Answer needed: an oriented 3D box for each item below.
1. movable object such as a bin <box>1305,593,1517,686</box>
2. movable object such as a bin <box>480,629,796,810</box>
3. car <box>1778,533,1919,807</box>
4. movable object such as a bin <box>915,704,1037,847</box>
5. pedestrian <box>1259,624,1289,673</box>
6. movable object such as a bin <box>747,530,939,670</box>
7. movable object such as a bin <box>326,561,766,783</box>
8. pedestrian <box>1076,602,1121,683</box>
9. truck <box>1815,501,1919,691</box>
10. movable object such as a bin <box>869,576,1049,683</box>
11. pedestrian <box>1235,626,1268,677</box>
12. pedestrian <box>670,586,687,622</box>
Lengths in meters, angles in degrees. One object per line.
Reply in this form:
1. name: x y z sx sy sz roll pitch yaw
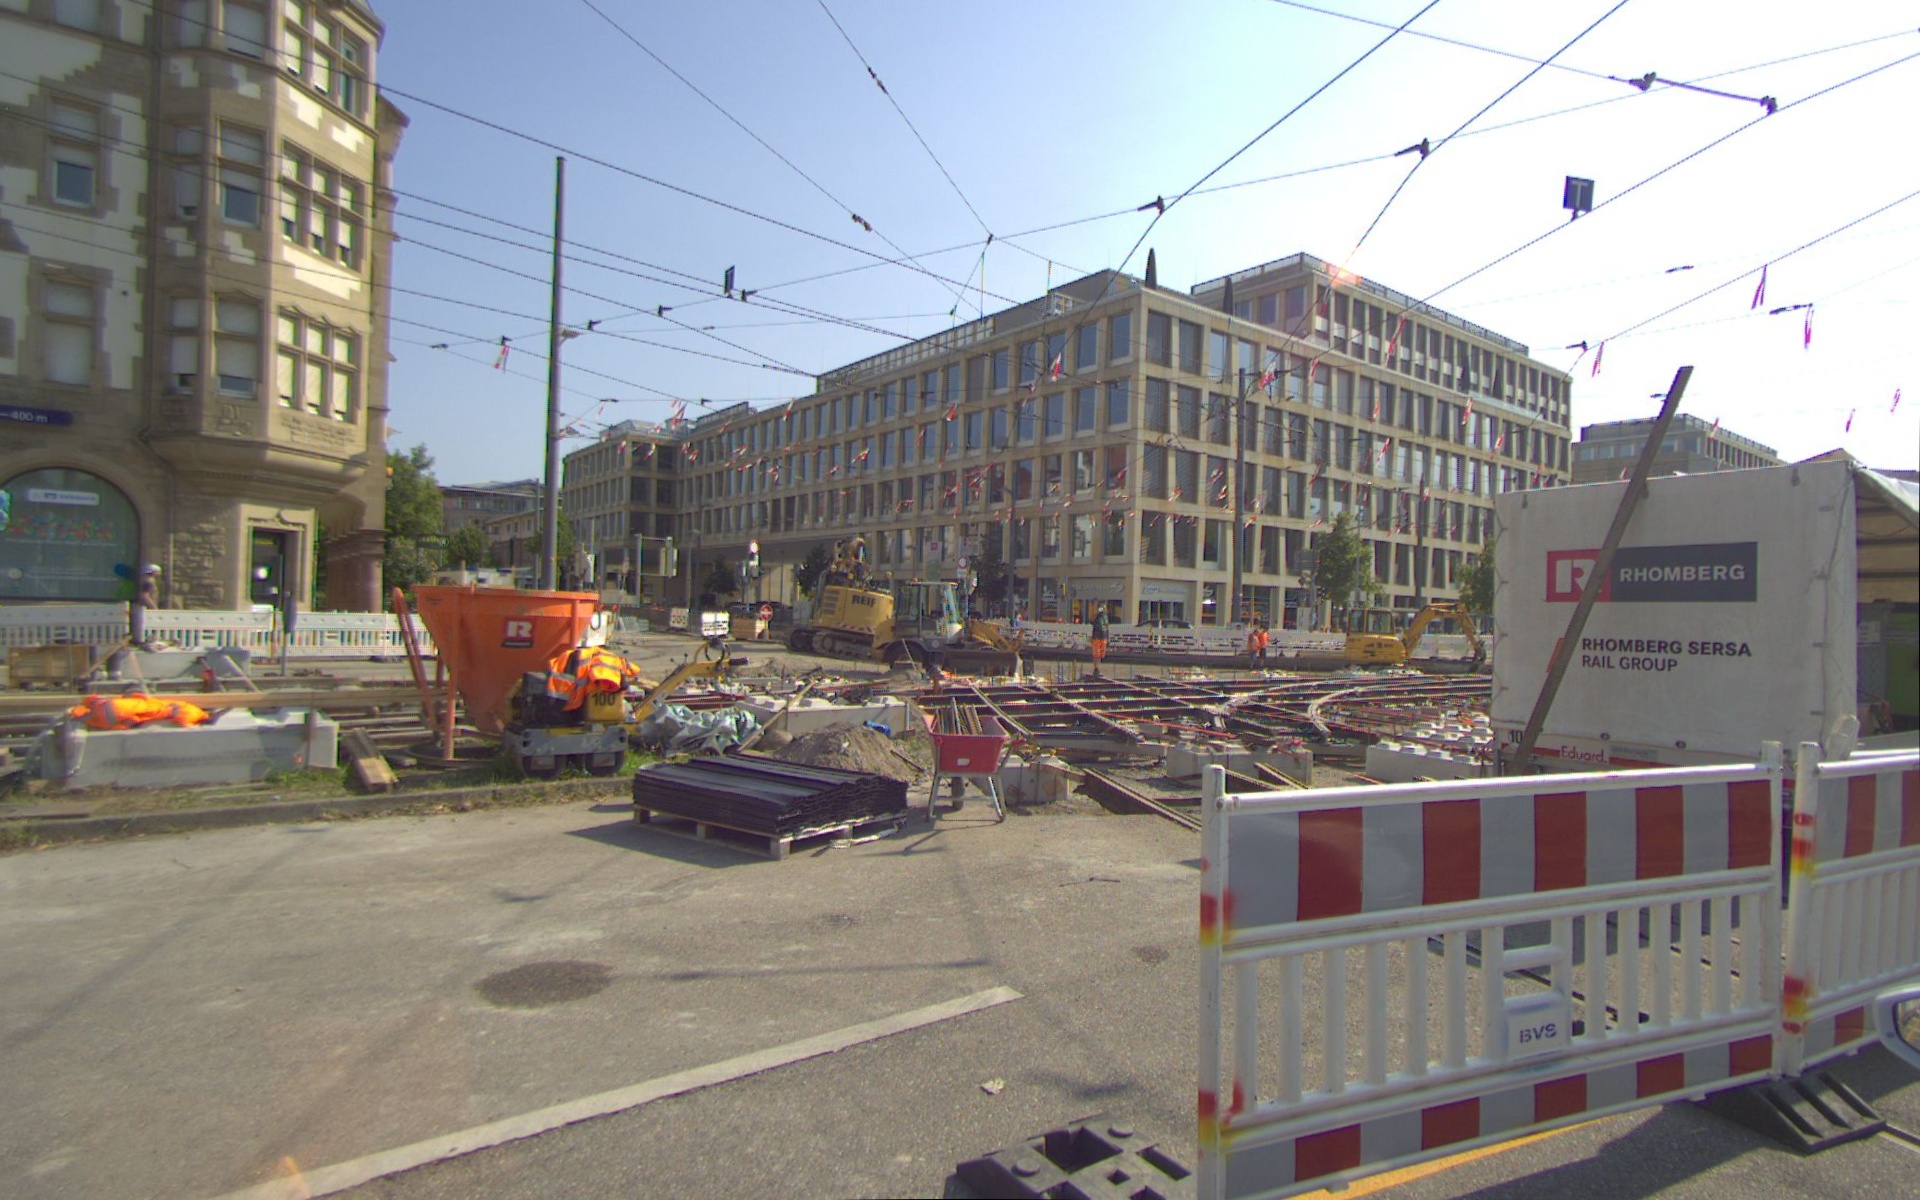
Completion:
1. movable object such as a bin: 16.917 1.521 37.426 8.401 2.997 3.586 4 0 -38
2. movable object such as a bin: -2.493 0.872 7.924 2.191 1.227 0.881 2 -1 -36
3. car: 11.396 0.762 11.251 7.142 2.456 2.189 3 -1 -40
4. movable object such as a bin: 0.064 1.172 7.048 0.704 0.723 1.723 2 -1 -4
5. pedestrian: 12.456 1.907 39.899 0.797 1.889 0.753 2 0 -15
6. movable object such as a bin: -4.497 0.092 36.754 4.901 4.404 7.339 3 -2 -24
7. movable object such as a bin: -3.547 0.568 8.770 3.255 1.579 1.589 2 -1 -36
8. pedestrian: 3.395 1.027 24.642 0.714 1.938 0.783 2 -1 -28
9. truck: 22.570 -0.013 24.224 2.759 3.965 8.377 3 1 40
10. movable object such as a bin: 0.008 0.840 29.499 4.719 2.872 2.451 1 -1 16
11. pedestrian: 11.325 1.988 38.974 0.913 1.889 0.806 2 0 43
12. pedestrian: -16.135 0.247 57.547 0.669 2.040 0.634 2 0 42
